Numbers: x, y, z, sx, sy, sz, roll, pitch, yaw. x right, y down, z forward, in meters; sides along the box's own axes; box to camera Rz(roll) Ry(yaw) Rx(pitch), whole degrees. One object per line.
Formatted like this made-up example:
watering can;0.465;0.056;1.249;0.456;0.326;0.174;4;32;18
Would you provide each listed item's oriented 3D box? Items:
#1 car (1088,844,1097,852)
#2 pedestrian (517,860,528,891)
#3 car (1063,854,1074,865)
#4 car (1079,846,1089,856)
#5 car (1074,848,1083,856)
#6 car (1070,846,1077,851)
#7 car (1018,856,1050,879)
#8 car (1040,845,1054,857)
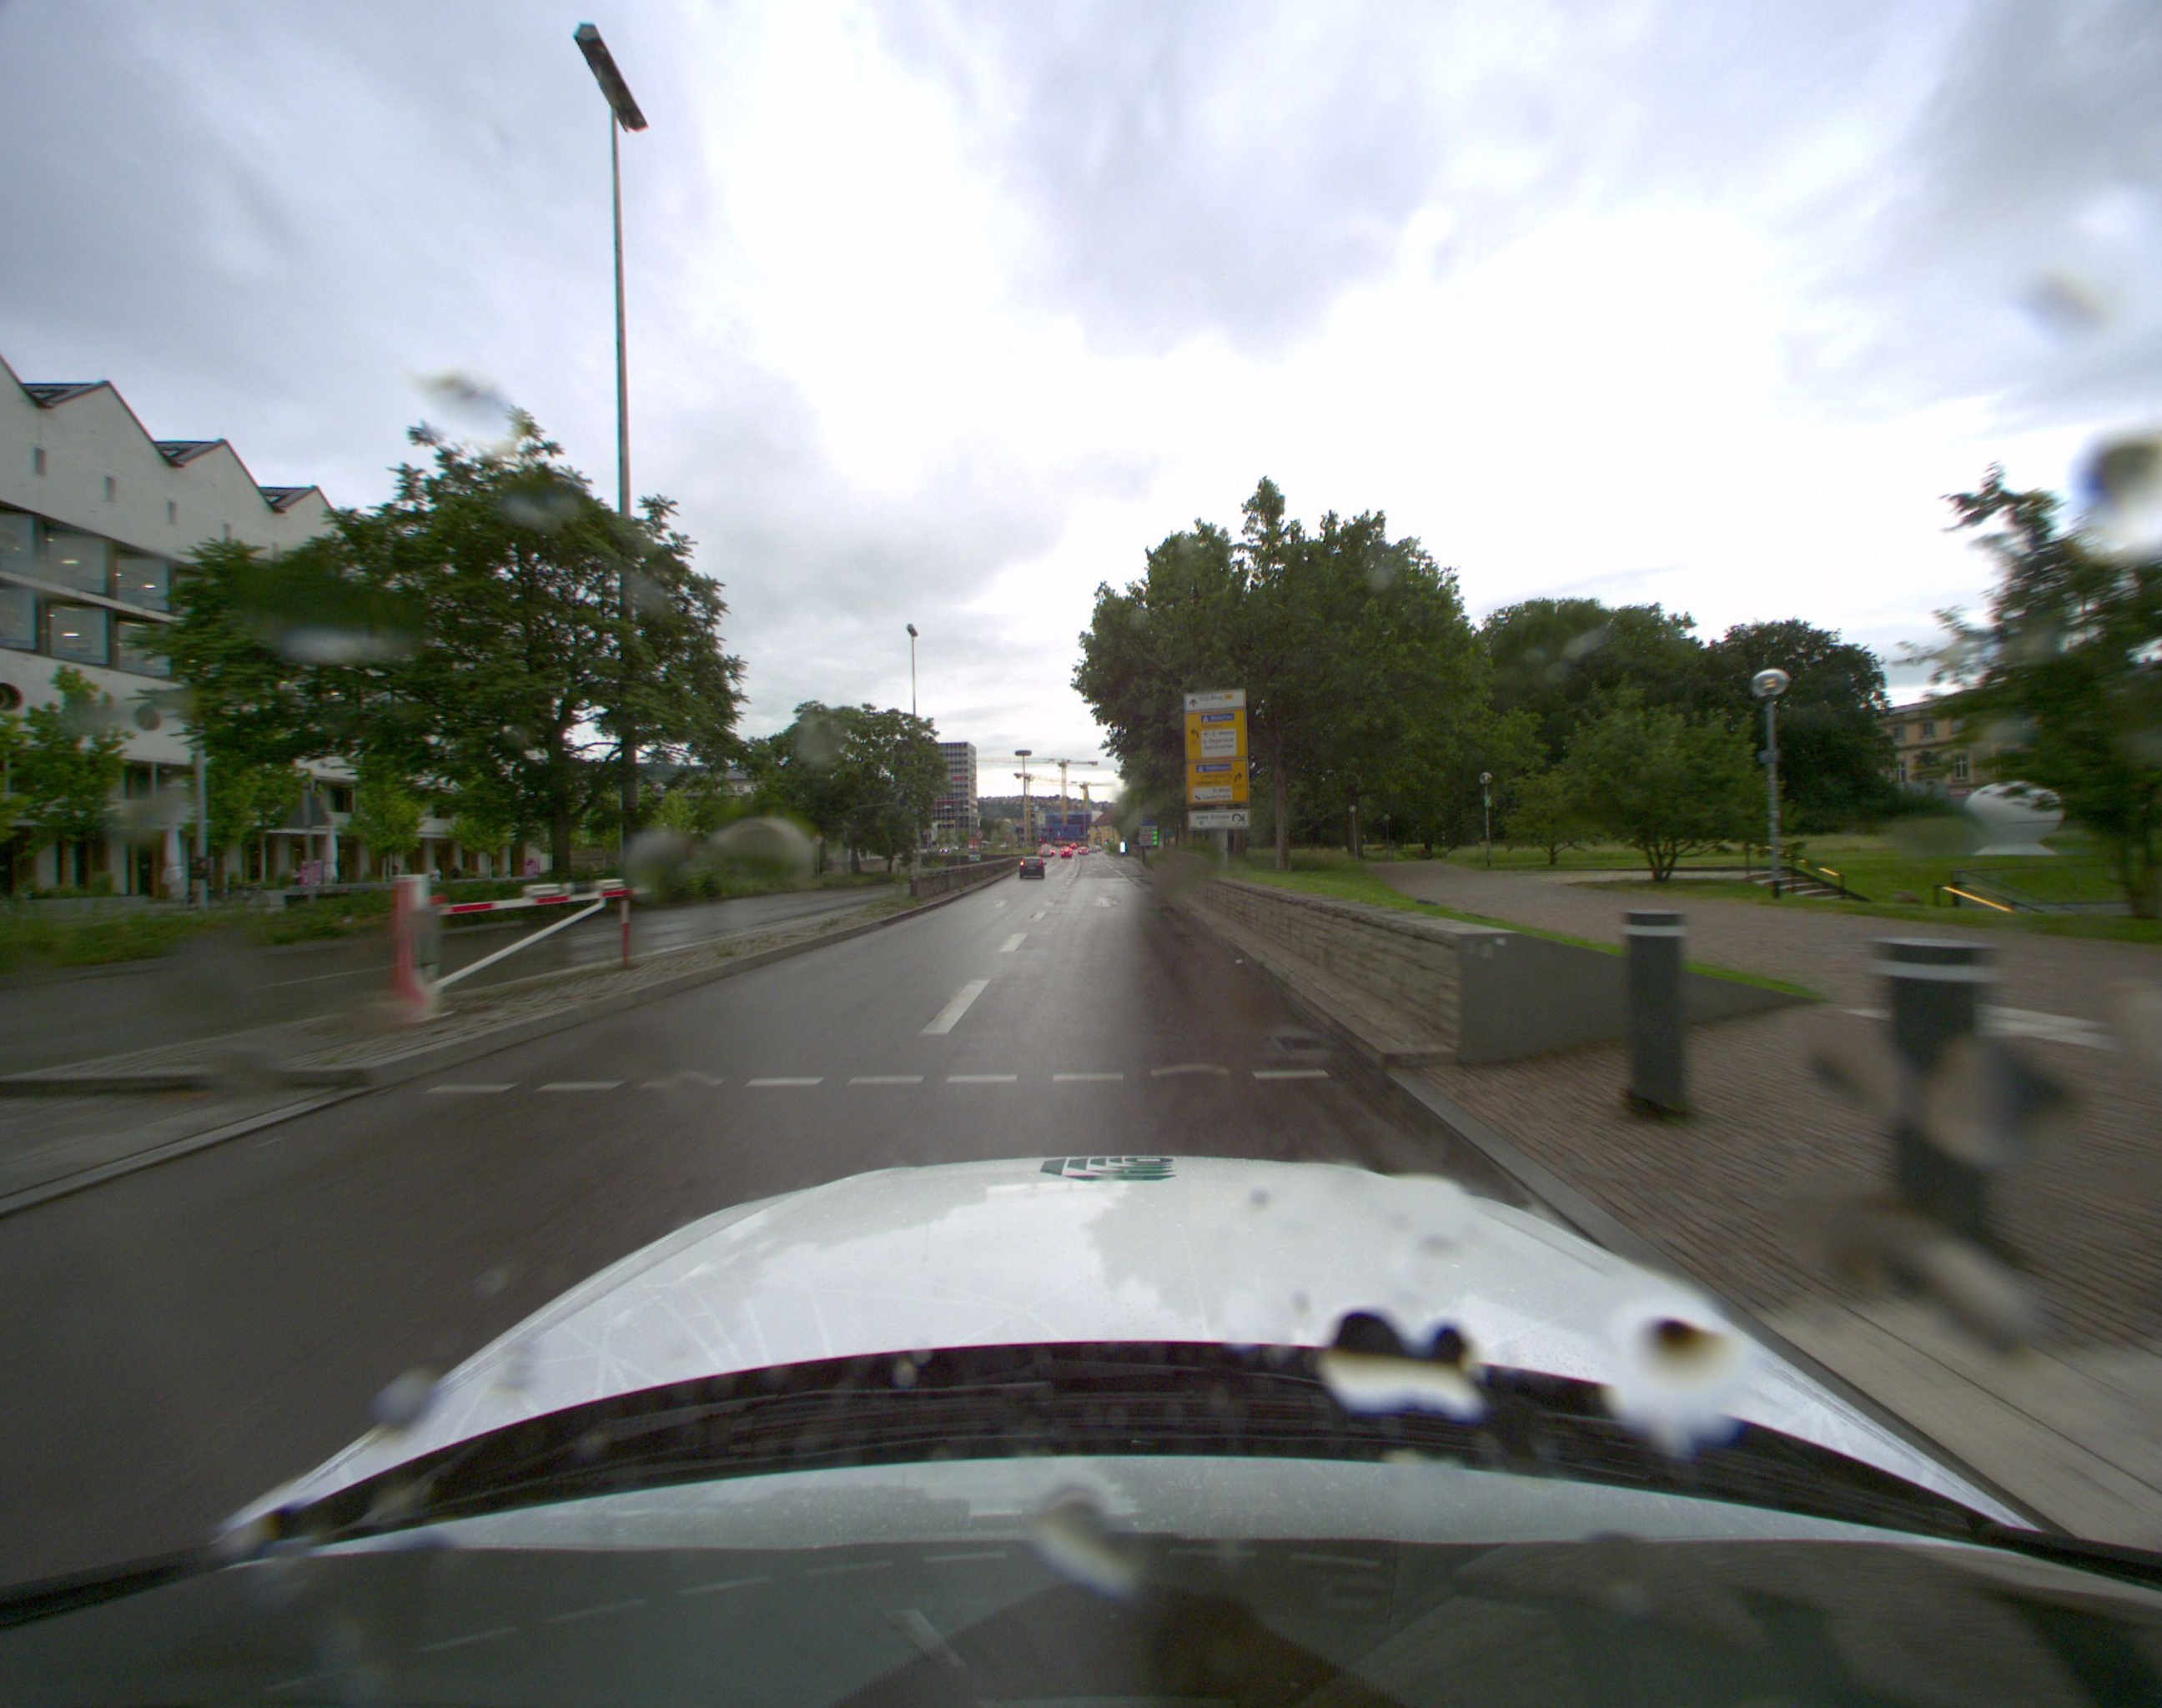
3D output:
car;2.695;-1.473;192.186;1.986;1.599;4.001;-3;-1;2
pedestrian;-37.114;1.455;54.142;0.543;2.014;0.525;-2;-1;-36
car;-2.201;0.961;141.591;1.734;1.771;3.998;-3;-1;-1
car;0.579;-0.668;170.799;1.980;2.014;4.000;-3;-1;1
car;-0.605;-0.377;177.419;1.706;1.690;3.850;-3;-1;2
car;-2.135;-1.624;237.651;1.715;1.557;3.585;-1;0;2
car;-3.175;0.933;54.805;1.842;1.416;3.829;-3;-1;-7
car;-6.330;-0.600;151.782;2.211;2.014;4.001;-3;-1;2
